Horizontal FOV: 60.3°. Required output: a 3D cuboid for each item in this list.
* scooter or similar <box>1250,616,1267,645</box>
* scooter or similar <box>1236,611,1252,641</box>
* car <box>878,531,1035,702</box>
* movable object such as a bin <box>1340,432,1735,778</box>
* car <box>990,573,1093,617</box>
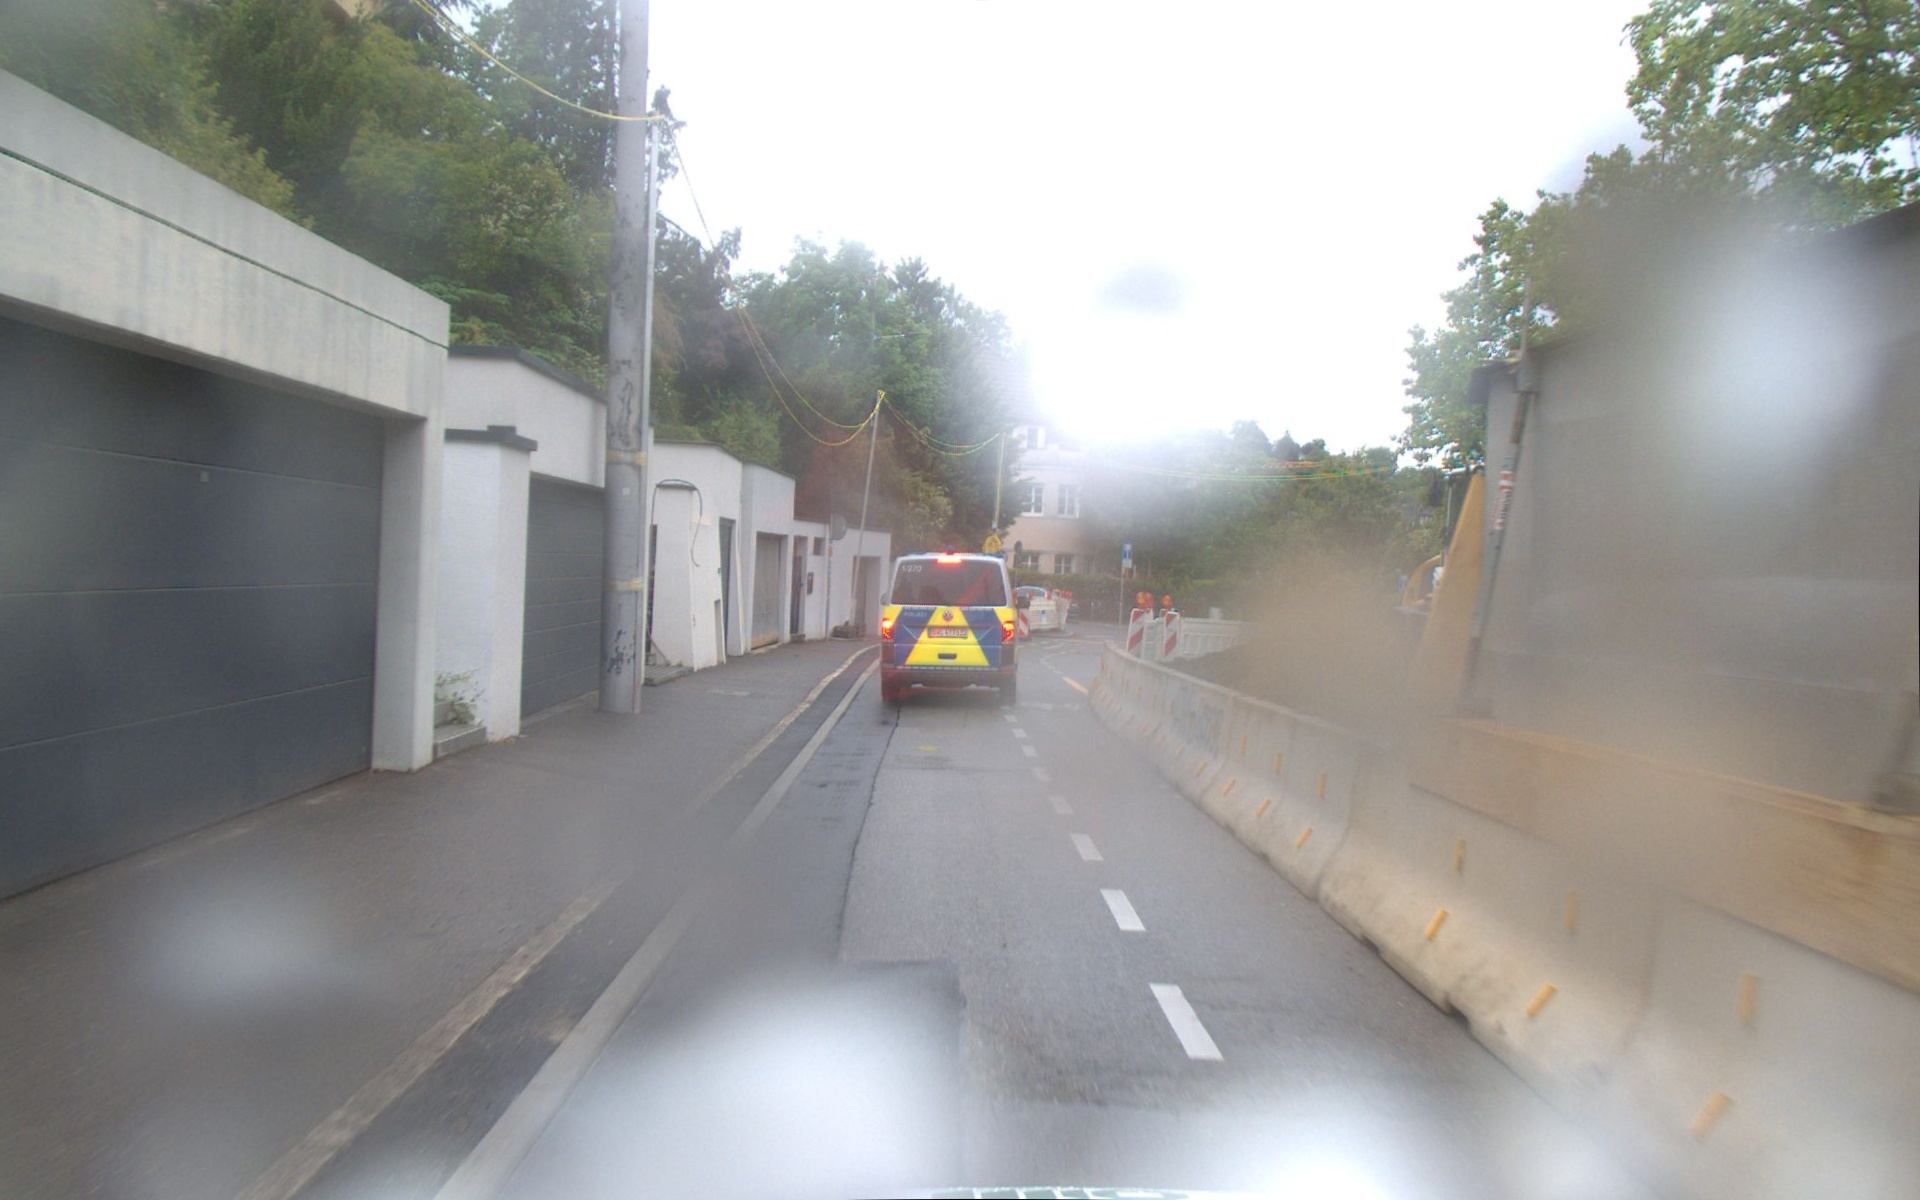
[{"bbox_3d":[12.338,1.246,68.409,0.455,1.164,0.995,4,-1,-1],"label":"scooter or similar"},{"bbox_3d":[11.800,1.094,68.727,0.455,1.207,1.025,4,-1,0],"label":"scooter or similar"},{"bbox_3d":[0.004,0.237,23.373,1.869,2.045,4.440,4,-1,1],"label":"car"},{"bbox_3d":[6.162,0.073,18.609,2.443,3.129,5.589,4,-1,2],"label":"movable object such as a bin"},{"bbox_3d":[3.452,-0.224,70.139,3.913,1.544,1.725,4,-1,30],"label":"car"}]
